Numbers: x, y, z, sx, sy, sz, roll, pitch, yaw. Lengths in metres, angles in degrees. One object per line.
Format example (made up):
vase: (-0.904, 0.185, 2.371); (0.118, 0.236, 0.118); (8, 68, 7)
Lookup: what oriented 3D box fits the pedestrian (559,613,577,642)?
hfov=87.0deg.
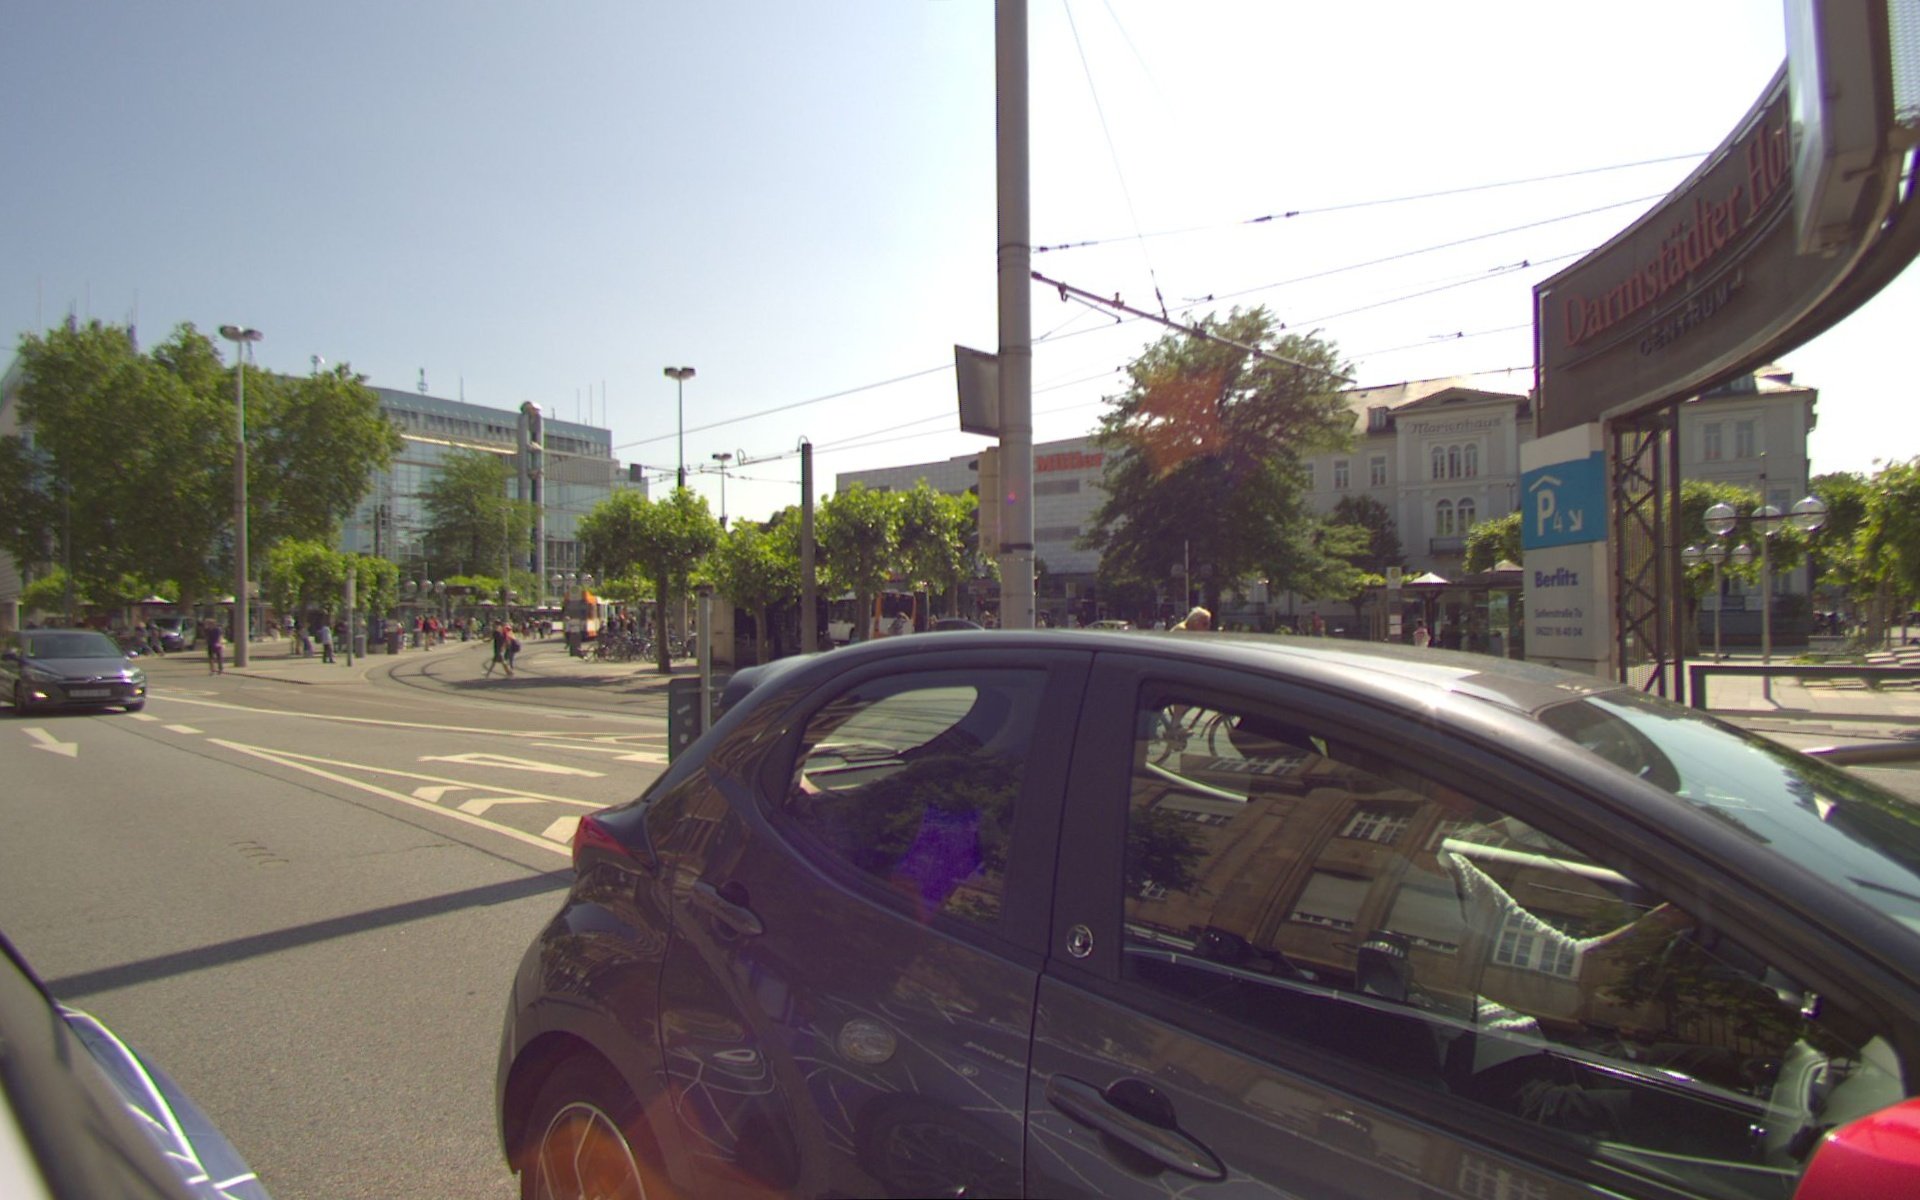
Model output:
pedestrian: (-20.349, 1.432, 52.532); (0.549, 1.477, 0.621); (-1, -4, 19)

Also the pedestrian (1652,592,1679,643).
pedestrian: (28.442, 0.703, 40.799); (0.830, 2.023, 0.595); (-2, -4, 39)

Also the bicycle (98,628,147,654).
bicycle: (-39.157, 1.899, 47.326); (0.482, 1.156, 1.735); (-1, -1, 39)

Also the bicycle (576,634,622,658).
bicycle: (-14.734, 1.870, 41.312); (0.580, 0.878, 1.853); (-2, 1, 28)

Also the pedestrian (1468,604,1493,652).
pedestrian: (19.022, 1.019, 36.985); (0.618, 1.742, 0.733); (-2, -4, 40)

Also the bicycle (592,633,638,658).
bicycle: (-13.894, 1.832, 40.781); (0.544, 0.862, 1.853); (-2, 1, 28)

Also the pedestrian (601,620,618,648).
pedestrian: (-18.154, 1.777, 52.463); (0.617, 1.429, 0.680); (-1, -1, 3)

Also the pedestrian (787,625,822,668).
pedestrian: (-4.551, 1.365, 29.564); (0.751, 1.256, 0.669); (-2, -4, 35)

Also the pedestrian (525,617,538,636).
pedestrian: (-35.024, 2.145, 82.765); (0.555, 1.483, 0.748); (-1, 1, 40)

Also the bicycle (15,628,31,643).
bicycle: (-74.313, 2.836, 80.260); (1.753, 1.156, 0.586); (-1, -1, 34)

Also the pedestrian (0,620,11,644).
pedestrian: (-70.013, 2.336, 74.056); (0.721, 1.682, 0.641); (-2, 1, -36)

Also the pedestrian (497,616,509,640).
pedestrian: (-30.719, 1.891, 68.035); (0.448, 1.561, 0.474); (-1, -3, 14)

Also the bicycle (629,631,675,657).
bicycle: (-12.065, 1.715, 39.684); (0.579, 0.876, 1.853); (-2, 1, 28)

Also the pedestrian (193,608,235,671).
pedestrian: (-24.161, 1.286, 32.790); (0.670, 2.023, 0.895); (0, -3, -3)

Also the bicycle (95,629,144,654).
bicycle: (-39.557, 1.944, 47.633); (0.482, 1.156, 1.735); (-1, -1, 39)

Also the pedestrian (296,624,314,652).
pedestrian: (-29.613, 1.706, 45.758); (0.568, 1.243, 0.555); (0, -1, -15)

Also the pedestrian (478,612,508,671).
pedestrian: (-13.939, 1.248, 30.223); (0.581, 1.747, 0.524); (0, -3, 11)

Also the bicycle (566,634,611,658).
bicycle: (-15.301, 1.896, 41.712); (0.544, 0.862, 1.853); (-2, 1, 28)

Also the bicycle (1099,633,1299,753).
bicycle: (2.466, 0.927, 10.572); (1.873, 1.129, 0.809); (-1, -4, 41)

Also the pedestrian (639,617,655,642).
pedestrian: (-19.057, 1.804, 61.654); (0.675, 1.513, 0.621); (-1, -4, 19)

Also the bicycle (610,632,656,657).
bicycle: (-12.943, 1.744, 40.126); (0.544, 0.862, 1.853); (-2, 1, 28)

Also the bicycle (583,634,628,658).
bicycle: (-14.349, 1.847, 41.003); (0.544, 0.862, 1.853); (-2, 1, 28)

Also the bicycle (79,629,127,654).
bicycle: (-41.724, 1.995, 49.268); (0.482, 1.156, 1.735); (-1, -1, 39)

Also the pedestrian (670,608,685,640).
pedestrian: (-15.758, 1.337, 56.519); (0.584, 1.744, 0.557); (-1, -4, 19)

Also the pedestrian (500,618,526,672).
pedestrian: (-13.639, 1.370, 30.862); (0.518, 1.622, 0.627); (3, -4, -40)

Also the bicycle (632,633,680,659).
bicycle: (-11.470, 1.732, 38.221); (0.579, 0.876, 1.853); (-2, 1, 28)

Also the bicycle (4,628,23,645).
bicycle: (-69.554, 2.653, 74.376); (0.718, 1.152, 1.917); (-2, 1, -35)

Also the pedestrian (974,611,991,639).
pedestrian: (1.175, 1.324, 53.341); (0.679, 1.477, 0.617); (-2, -4, 38)

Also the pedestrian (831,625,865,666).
pedestrian: (-3.300, 1.343, 29.867); (0.751, 1.180, 0.669); (-2, -4, 35)

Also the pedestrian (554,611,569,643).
pedestrian: (-20.962, 1.442, 53.188); (0.518, 1.678, 0.469); (-1, -4, 19)

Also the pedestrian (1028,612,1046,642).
pedestrian: (3.867, 1.351, 50.870); (0.616, 1.477, 0.681); (4, -5, -44)

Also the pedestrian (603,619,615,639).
pedestrian: (-26.469, 2.191, 76.333); (0.573, 1.561, 0.677); (-1, -3, 14)

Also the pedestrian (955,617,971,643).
pedestrian: (0.193, 1.759, 59.389); (0.680, 1.477, 0.616); (-3, -5, 44)

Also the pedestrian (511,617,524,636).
pedestrian: (-36.103, 2.178, 82.539); (0.555, 1.483, 0.748); (-1, 1, 40)

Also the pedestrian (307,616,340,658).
pedestrian: (-25.411, 1.477, 40.416); (0.678, 1.671, 0.885); (-1, -2, 32)

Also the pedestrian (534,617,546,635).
pedestrian: (-35.129, 2.152, 84.667); (0.555, 1.483, 0.748); (-1, 1, 40)

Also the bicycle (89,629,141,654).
bicycle: (-40.211, 1.958, 48.159); (0.482, 1.156, 1.842); (-1, -1, 39)

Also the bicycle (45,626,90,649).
bicycle: (-46.841, 1.954, 53.116); (0.482, 1.156, 1.735); (-1, -1, 39)

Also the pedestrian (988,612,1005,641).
pedestrian: (1.901, 1.358, 52.512); (0.679, 1.477, 0.617); (-2, -4, 36)

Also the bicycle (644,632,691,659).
bicycle: (-10.963, 1.699, 37.967); (0.579, 0.876, 1.853); (-2, 1, 28)

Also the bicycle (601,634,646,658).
bicycle: (-13.423, 1.830, 40.419); (0.544, 0.862, 1.853); (-2, 1, 28)

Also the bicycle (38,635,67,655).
bicycle: (-50.149, 2.480, 55.914); (2.625, 1.030, 0.820); (-1, 1, 41)

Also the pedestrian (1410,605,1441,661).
pedestrian: (14.539, 1.040, 31.624); (0.679, 1.719, 0.695); (-2, -4, 42)

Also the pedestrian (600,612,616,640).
pedestrian: (-22.572, 1.687, 64.916); (0.675, 1.809, 0.621); (-1, -4, 19)

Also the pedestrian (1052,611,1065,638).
pedestrian: (4.905, 1.222, 50.290); (0.511, 1.273, 0.453); (4, -5, -44)

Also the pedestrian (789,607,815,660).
pedestrian: (-4.828, 1.031, 30.891); (0.597, 1.622, 0.574); (0, -3, 12)
